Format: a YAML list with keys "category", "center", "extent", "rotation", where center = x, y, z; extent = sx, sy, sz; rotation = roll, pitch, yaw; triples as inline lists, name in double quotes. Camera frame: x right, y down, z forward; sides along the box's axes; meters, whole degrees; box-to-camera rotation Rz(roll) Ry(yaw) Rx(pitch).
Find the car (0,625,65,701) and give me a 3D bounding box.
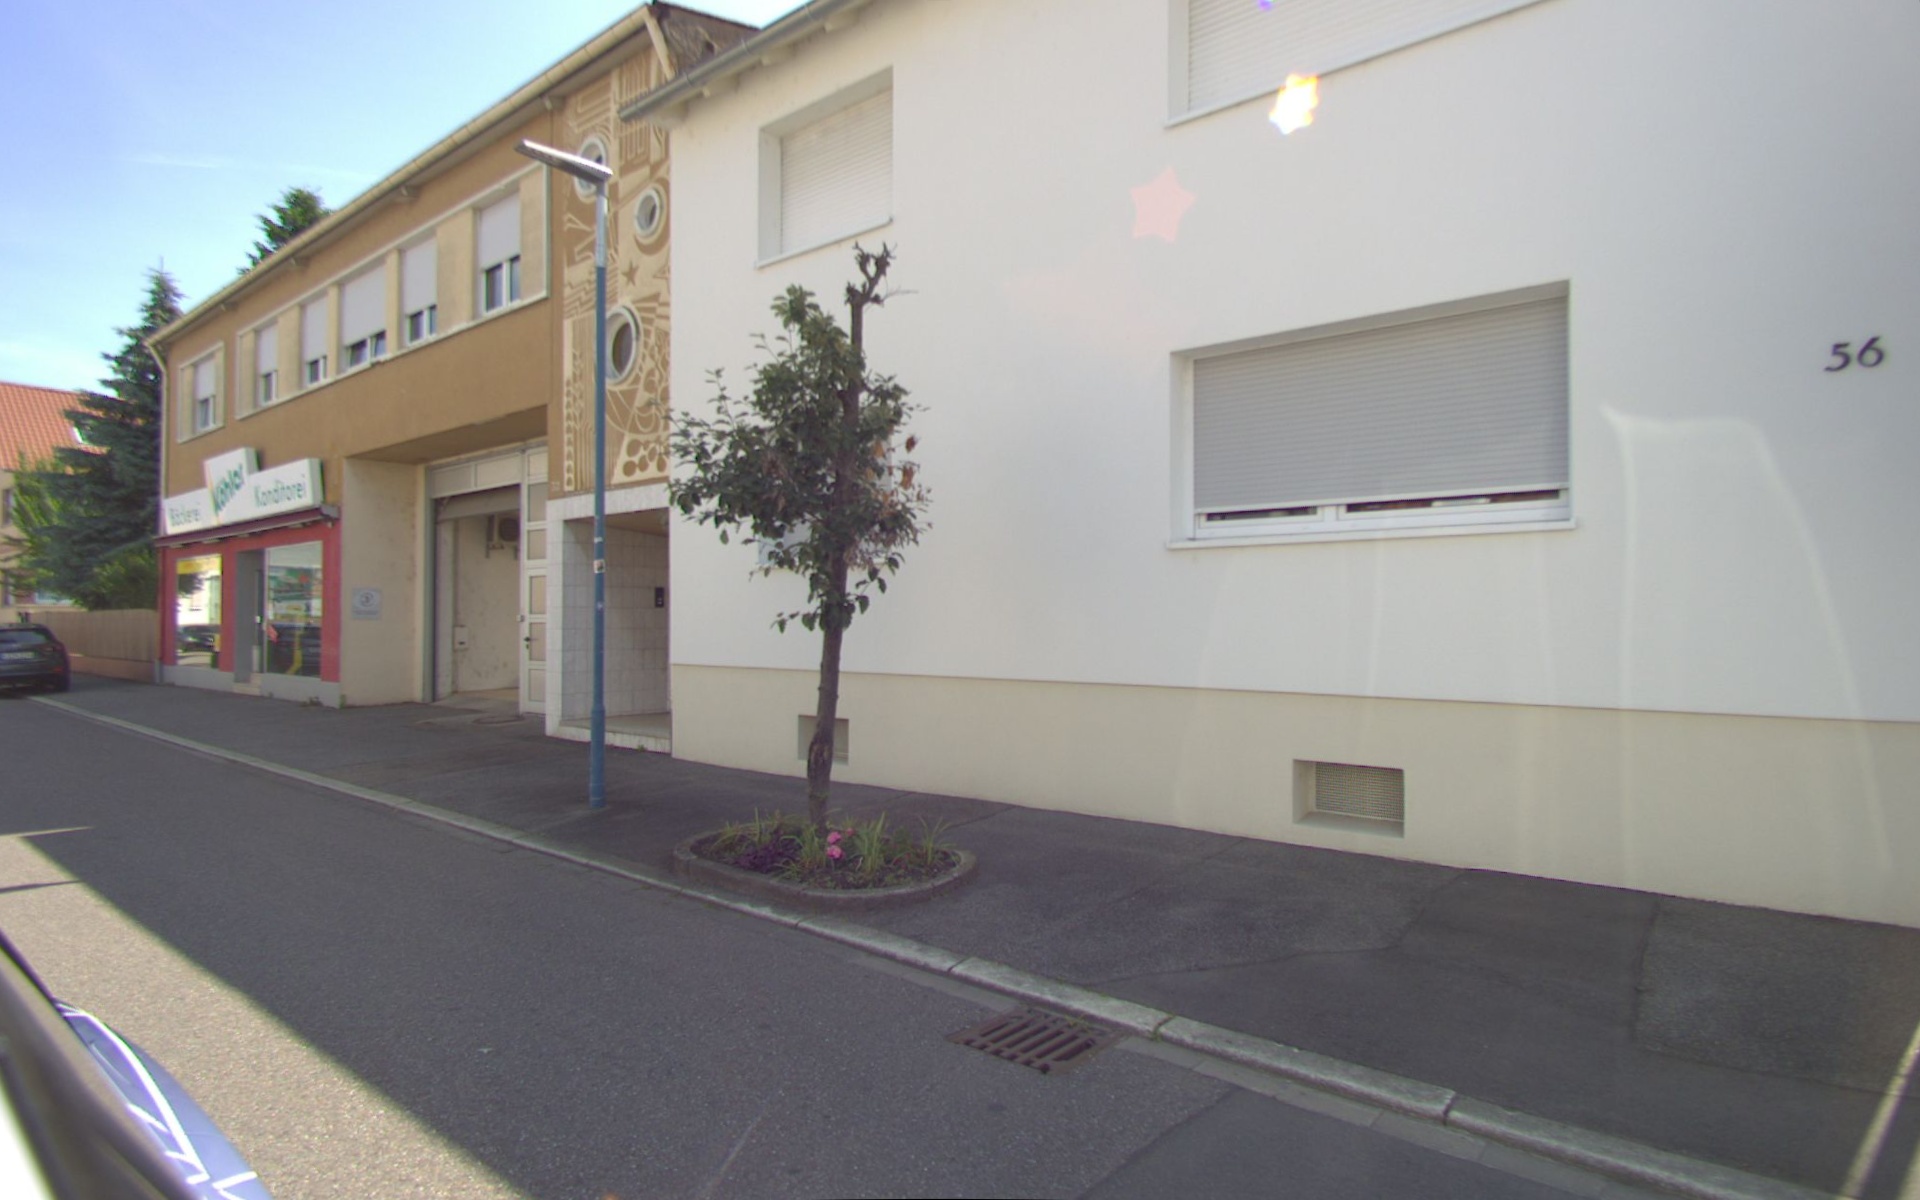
- category: "car"
  center: [-20.360, 1.279, 21.308]
  extent: [4.434, 1.471, 1.749]
  rotation: [-1, -1, 42]
